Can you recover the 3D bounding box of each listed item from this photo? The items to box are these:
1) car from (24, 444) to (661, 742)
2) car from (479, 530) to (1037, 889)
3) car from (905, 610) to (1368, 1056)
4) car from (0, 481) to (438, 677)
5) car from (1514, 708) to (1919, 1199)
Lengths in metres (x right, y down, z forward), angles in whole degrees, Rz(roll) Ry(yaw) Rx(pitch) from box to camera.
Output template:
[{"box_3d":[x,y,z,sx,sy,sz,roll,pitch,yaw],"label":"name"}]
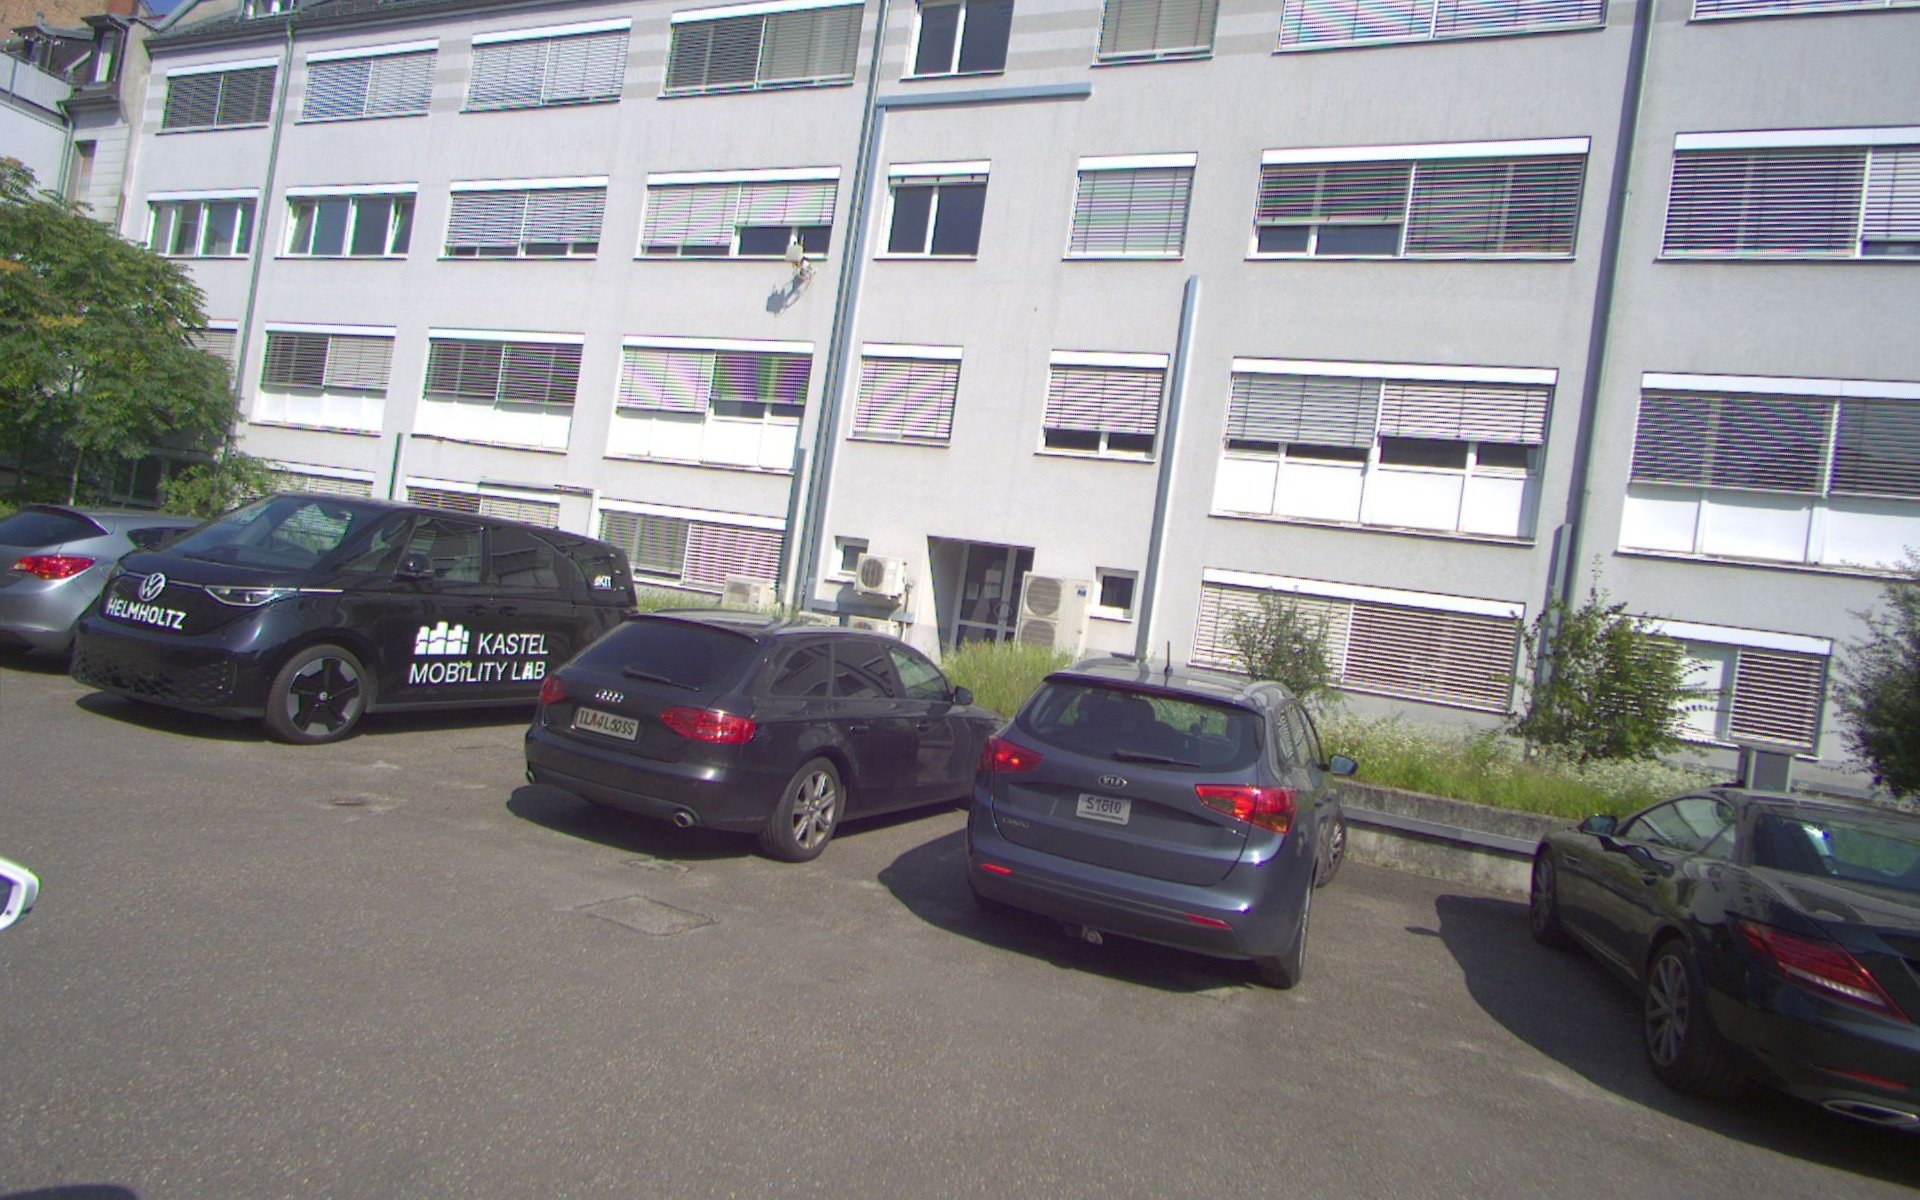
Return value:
[{"box_3d":[-4.892,0.071,8.920,1.848,1.815,4.518,7,-2,19],"label":"car"},{"box_3d":[-1.071,0.737,7.406,1.739,1.710,4.131,7,-2,25],"label":"car"},{"box_3d":[1.425,1.135,6.254,1.845,1.606,3.877,7,-2,23],"label":"car"},{"box_3d":[-7.541,-0.109,9.977,1.741,1.499,3.948,7,-2,19],"label":"car"},{"box_3d":[4.347,1.524,5.088,1.862,1.606,3.816,7,-2,19],"label":"car"}]
